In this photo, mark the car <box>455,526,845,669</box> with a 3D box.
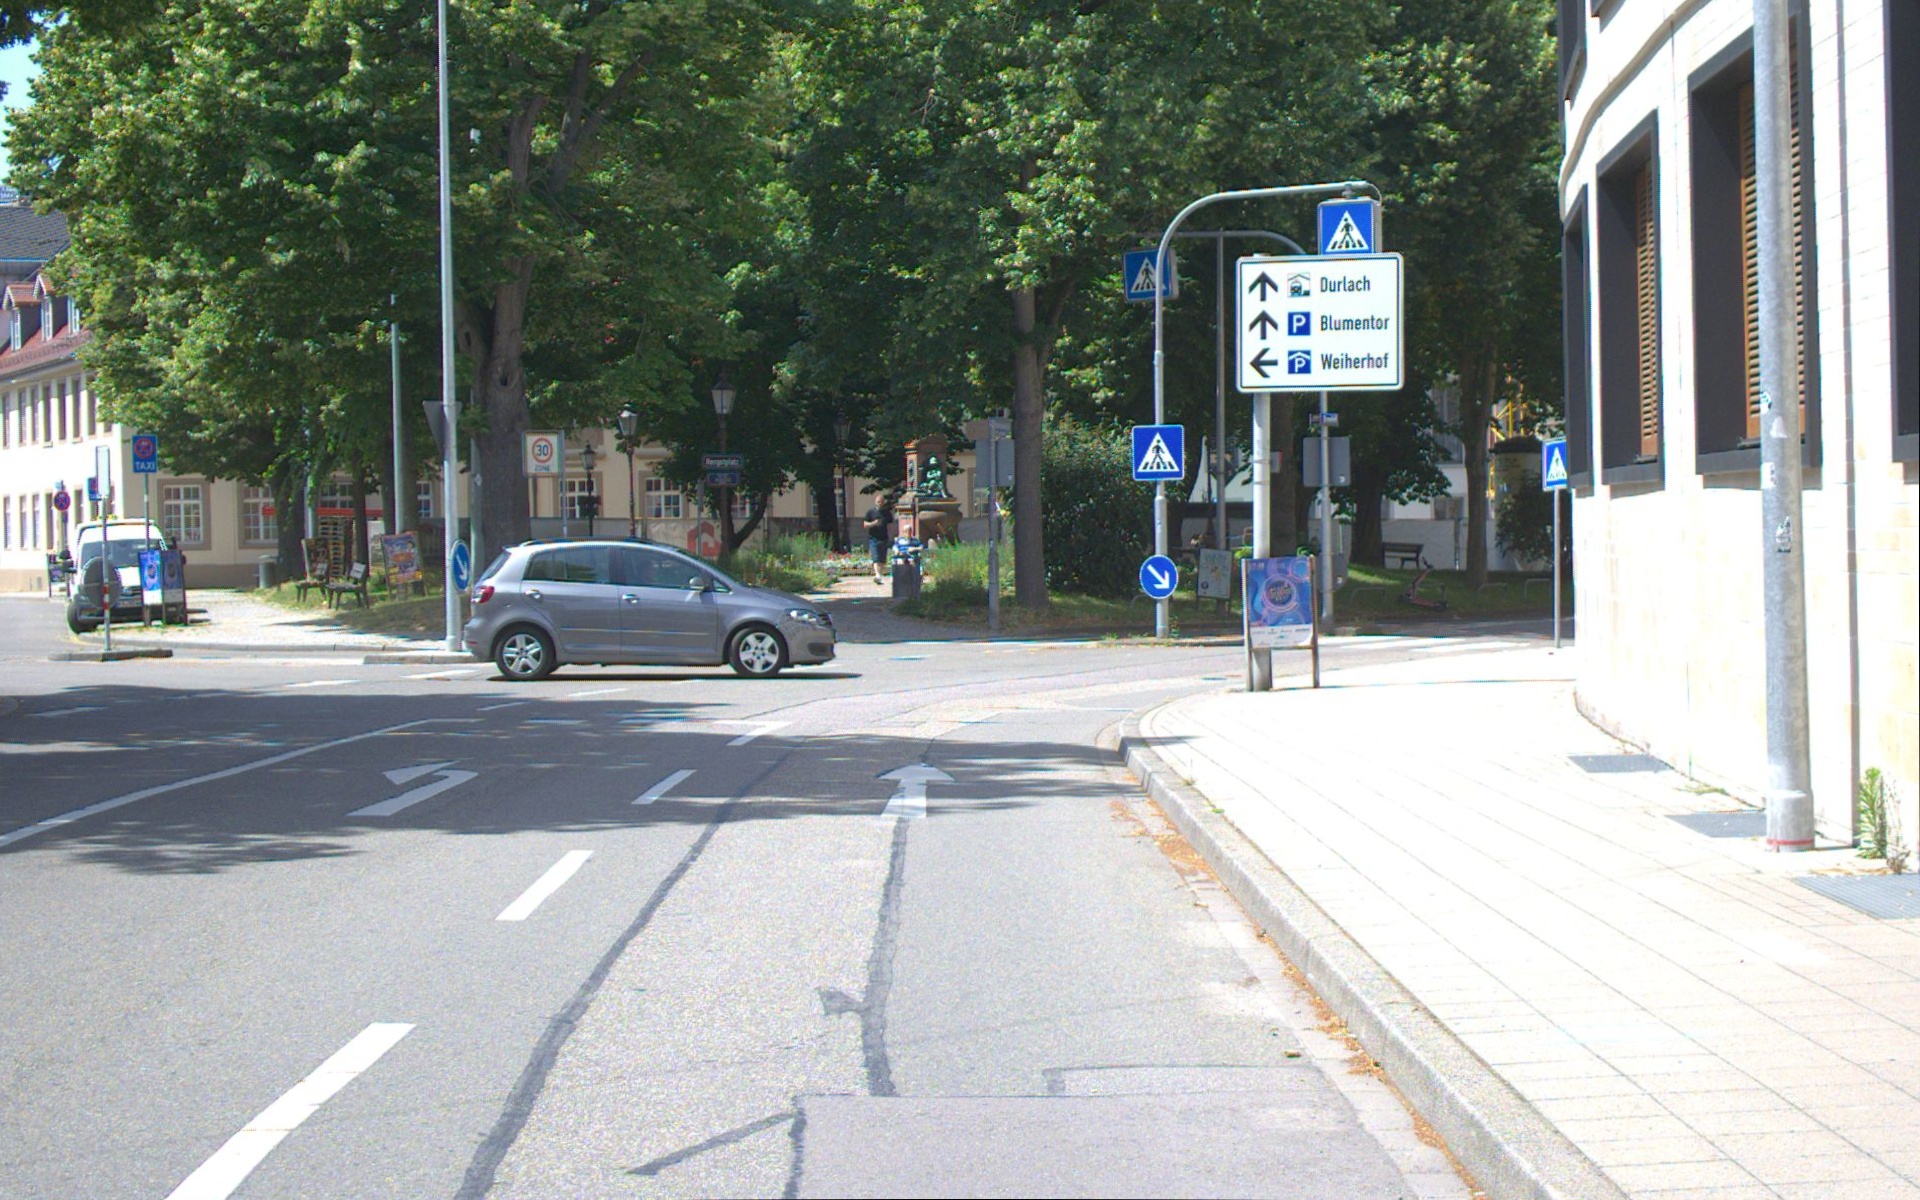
[{"bbox_3d":[-3.445,-0.040,38.824,4.229,1.528,1.910,1,1,0],"label":"car"}]

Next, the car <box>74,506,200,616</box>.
[{"bbox_3d":[-14.309,-0.702,59.619,1.993,1.820,4.424,0,1,-15],"label":"car"}]

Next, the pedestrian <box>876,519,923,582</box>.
[{"bbox_3d":[-1.223,-1.015,69.738,0.906,1.247,1.148,0,3,1],"label":"pedestrian"}]

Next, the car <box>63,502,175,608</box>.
[{"bbox_3d":[-16.580,-0.912,67.884,2.048,1.996,5.251,0,1,-13],"label":"car"}]

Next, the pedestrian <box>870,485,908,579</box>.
[{"bbox_3d":[-1.455,-1.400,70.640,0.748,1.904,0.684,0,2,1],"label":"pedestrian"}]
